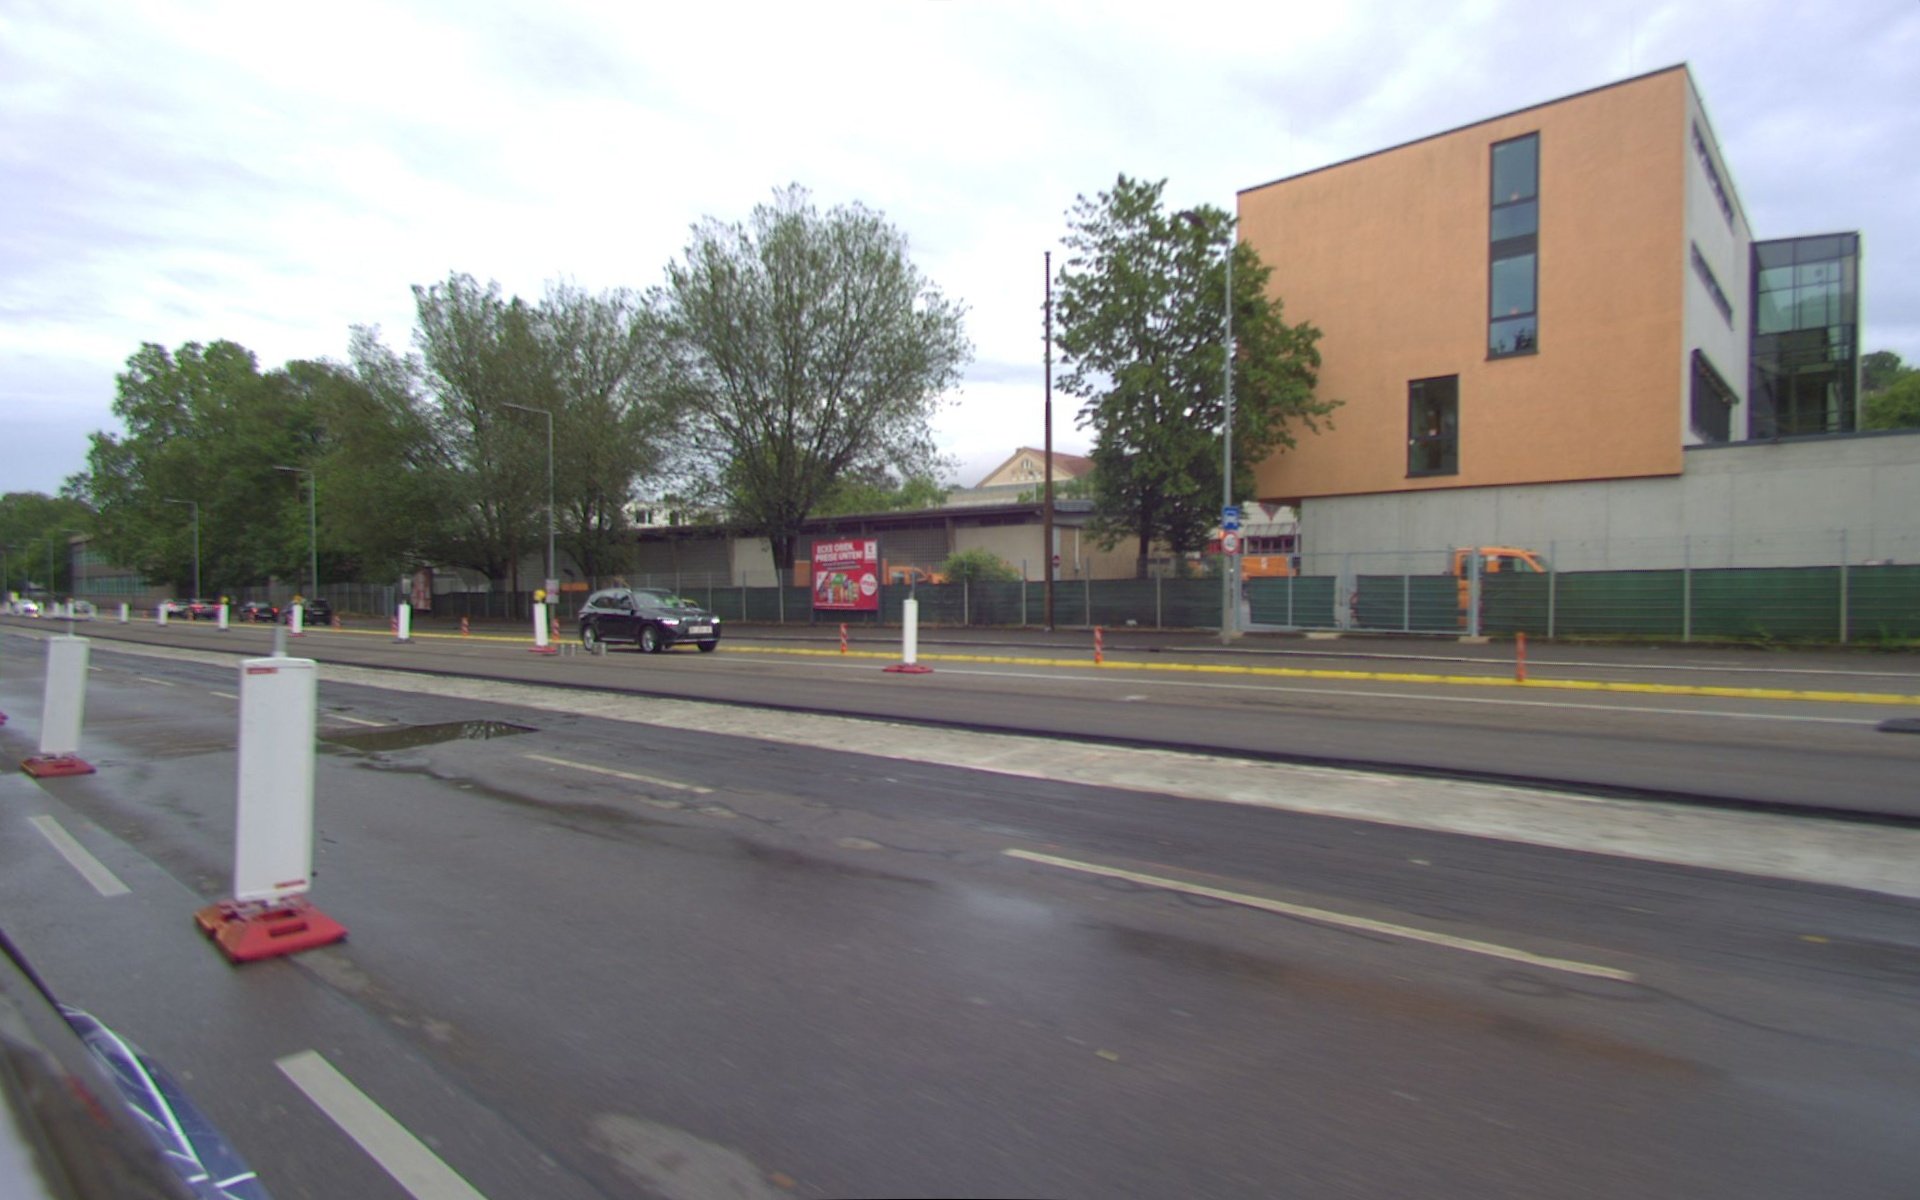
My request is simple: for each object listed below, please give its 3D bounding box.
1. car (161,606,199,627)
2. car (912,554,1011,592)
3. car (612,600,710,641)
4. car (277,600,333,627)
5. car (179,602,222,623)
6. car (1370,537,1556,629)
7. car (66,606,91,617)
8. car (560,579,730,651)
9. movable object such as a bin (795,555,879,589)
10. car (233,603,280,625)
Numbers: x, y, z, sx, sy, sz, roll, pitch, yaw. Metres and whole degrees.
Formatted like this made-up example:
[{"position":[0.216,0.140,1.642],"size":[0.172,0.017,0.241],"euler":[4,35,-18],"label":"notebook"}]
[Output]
[{"position":[-68.059,1.421,88.276],"size":[4.364,1.719,1.839],"euler":[0,-1,42],"label":"car"},{"position":[0.036,-1.156,43.715],"size":[3.958,1.539,2.005],"euler":[-1,0,-10],"label":"car"},{"position":[-10.702,0.720,36.098],"size":[3.803,1.378,1.537],"euler":[0,-1,41],"label":"car"},{"position":[-40.917,0.848,63.206],"size":[4.328,1.642,1.839],"euler":[0,-1,42],"label":"car"},{"position":[-59.621,0.974,79.425],"size":[4.364,1.631,1.839],"euler":[0,-1,42],"label":"car"},{"position":[12.792,-0.408,25.877],"size":[3.997,2.187,1.593],"euler":[-1,0,41],"label":"car"},{"position":[-104.246,1.368,119.648],"size":[4.454,1.325,1.649],"euler":[0,-1,42],"label":"car"},{"position":[-8.296,0.415,26.376],"size":[4.983,1.719,1.972],"euler":[-1,-2,42],"label":"car"},{"position":[-5.927,-1.342,48.887],"size":[3.961,1.539,1.756],"euler":[-1,0,-6],"label":"movable object such as a bin"},{"position":[-49.449,0.962,71.108],"size":[3.731,1.487,1.839],"euler":[0,-1,42],"label":"car"}]
